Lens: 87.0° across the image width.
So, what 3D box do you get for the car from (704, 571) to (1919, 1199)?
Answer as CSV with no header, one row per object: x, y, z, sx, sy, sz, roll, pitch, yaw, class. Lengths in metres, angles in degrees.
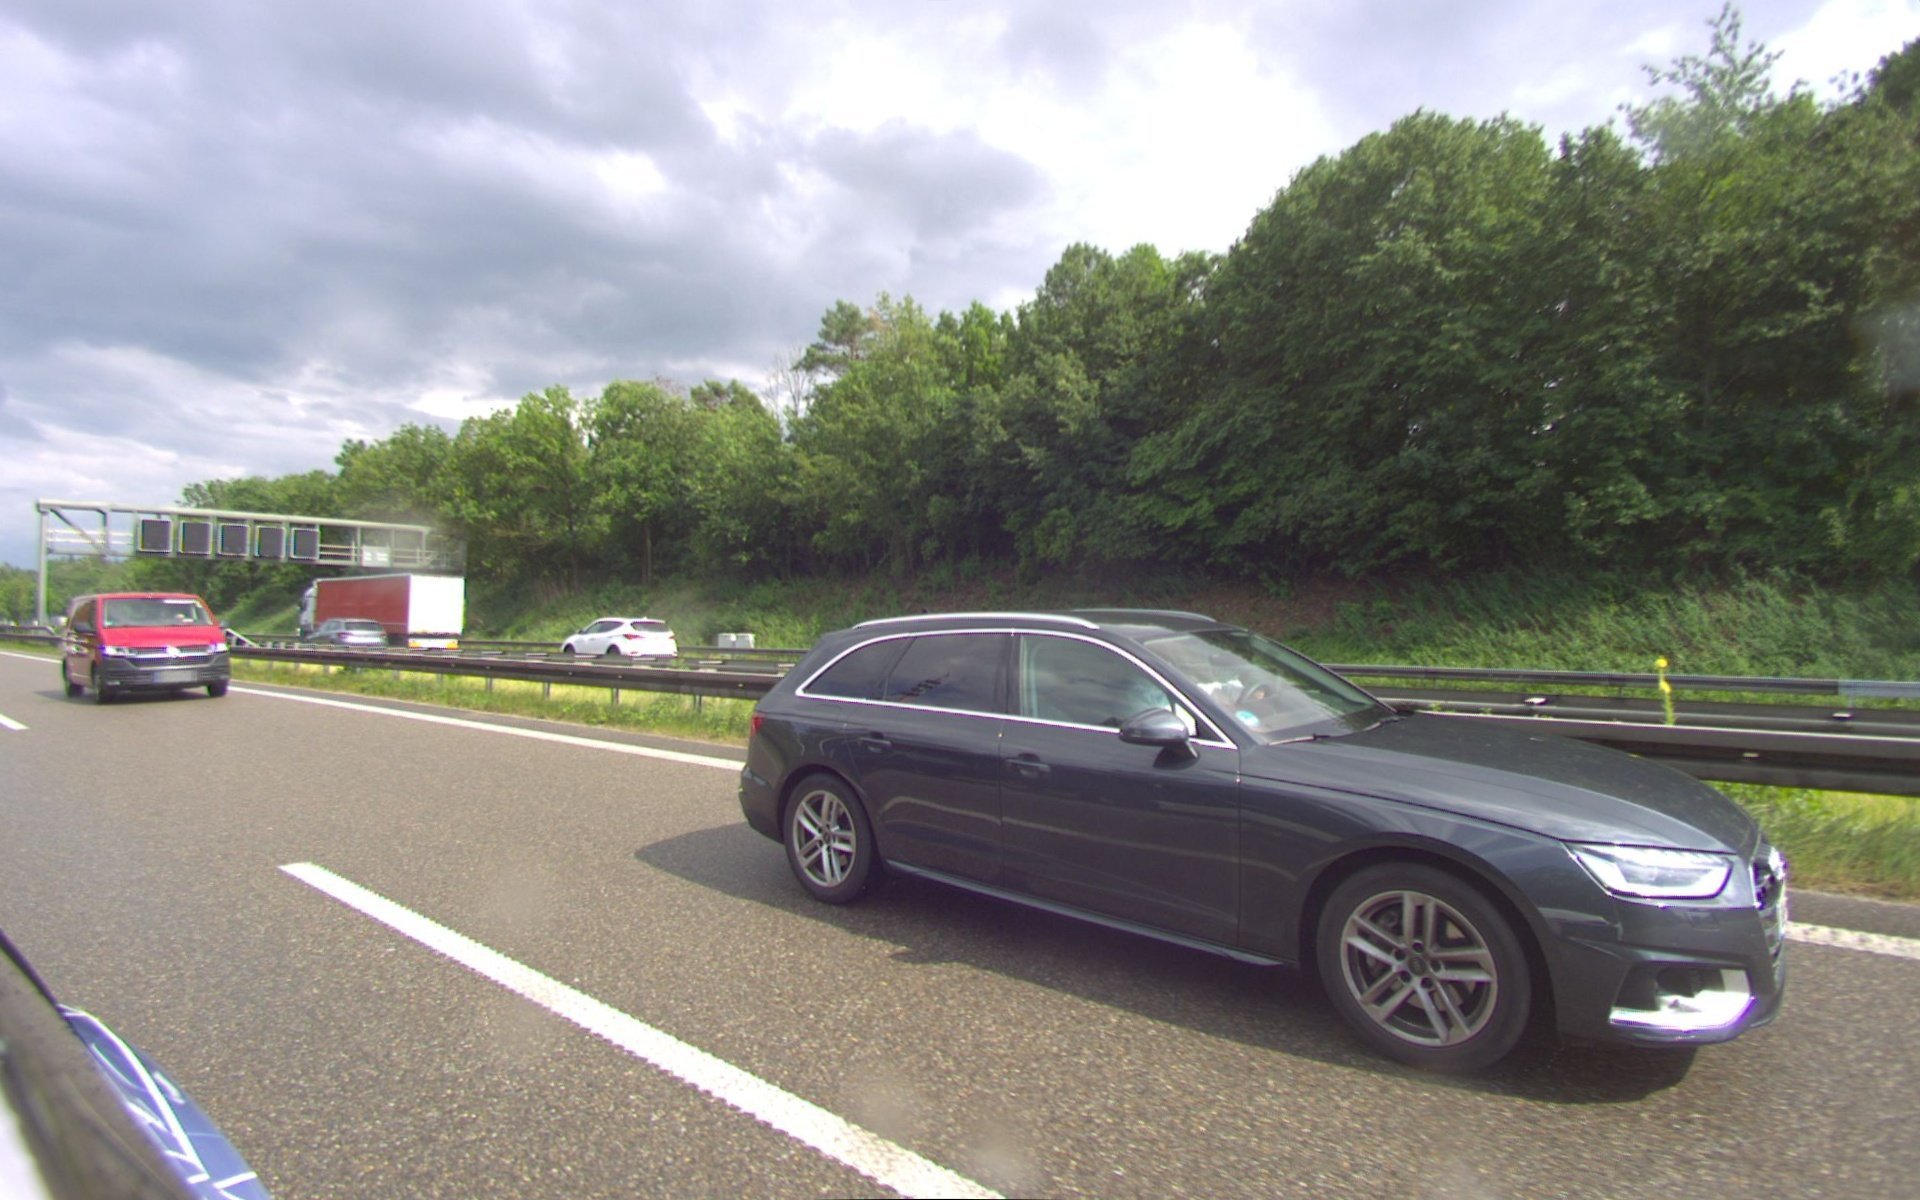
1.014,0.671,4.527,4.837,1.429,1.775,-1,0,41,car

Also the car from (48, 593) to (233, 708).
-15.331,0.851,18.839,4.837,1.880,1.902,-1,0,41,car

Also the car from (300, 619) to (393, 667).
-23.036,1.556,37.947,4.233,1.675,1.714,-1,0,40,car

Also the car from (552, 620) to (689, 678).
-10.872,1.486,32.265,4.695,1.675,1.996,-1,0,40,car

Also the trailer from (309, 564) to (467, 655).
-31.425,0.540,55.088,14.083,4.406,2.834,-1,0,41,trailer

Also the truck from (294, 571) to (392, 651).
-36.110,0.619,59.137,6.863,4.406,2.834,-1,0,40,truck
